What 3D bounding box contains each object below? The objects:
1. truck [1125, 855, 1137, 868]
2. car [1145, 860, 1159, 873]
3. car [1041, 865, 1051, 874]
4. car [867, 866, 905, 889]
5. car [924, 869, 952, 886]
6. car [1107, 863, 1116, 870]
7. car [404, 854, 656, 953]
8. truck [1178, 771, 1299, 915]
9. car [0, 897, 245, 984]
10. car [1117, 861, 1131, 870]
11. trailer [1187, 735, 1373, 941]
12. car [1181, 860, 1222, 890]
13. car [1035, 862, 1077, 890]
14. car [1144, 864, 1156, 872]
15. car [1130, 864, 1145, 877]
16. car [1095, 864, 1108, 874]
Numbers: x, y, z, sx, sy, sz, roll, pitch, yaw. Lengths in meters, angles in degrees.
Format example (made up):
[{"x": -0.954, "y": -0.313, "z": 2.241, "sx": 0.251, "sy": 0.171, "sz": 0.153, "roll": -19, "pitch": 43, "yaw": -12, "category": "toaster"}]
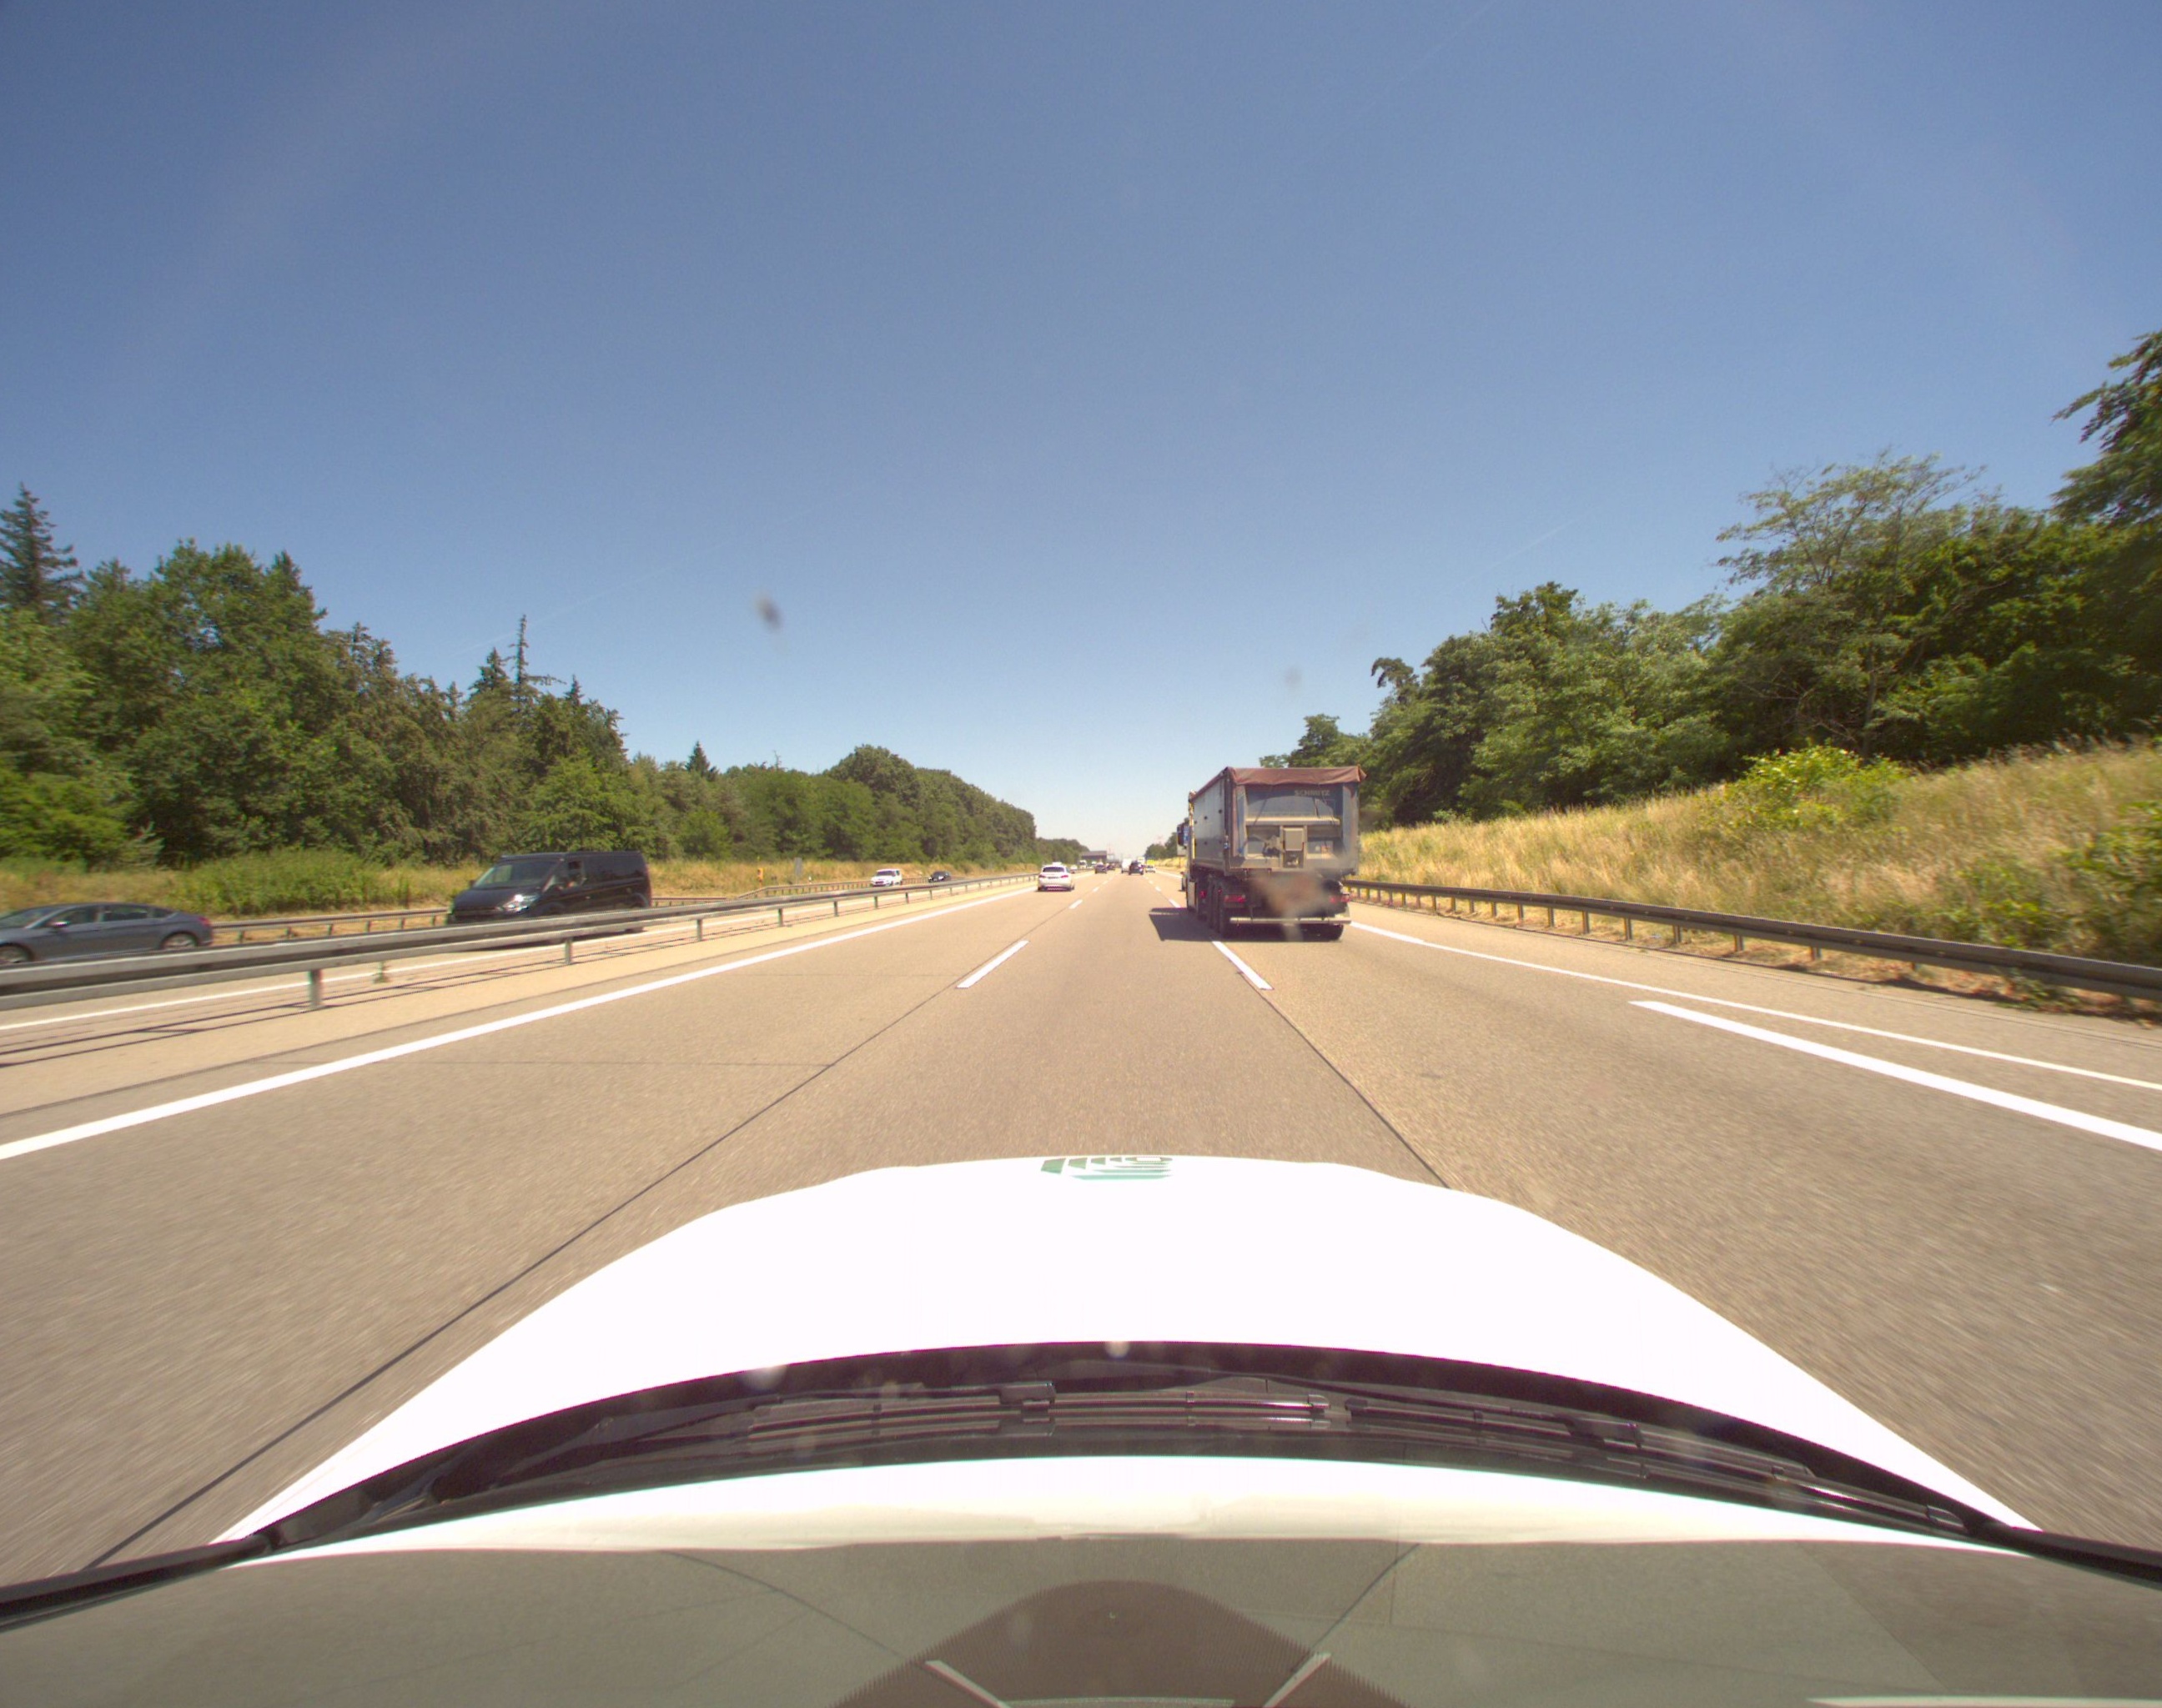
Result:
[{"x": 11.554, "y": 1.775, "z": 188.452, "sx": 2.419, "sy": 2.884, "sz": 6.207, "roll": 0, "pitch": -1, "yaw": 2, "category": "truck"}, {"x": 14.609, "y": 2.513, "z": 168.411, "sx": 2.656, "sy": 2.634, "sz": 6.115, "roll": 0, "pitch": -1, "yaw": 2, "category": "car"}, {"x": -8.860, "y": 3.899, "z": 205.740, "sx": 1.985, "sy": 1.953, "sz": 5.249, "roll": -3, "pitch": -1, "yaw": 4, "category": "car"}, {"x": -17.391, "y": 2.071, "z": 72.742, "sx": 1.985, "sy": 1.828, "sz": 4.646, "roll": -3, "pitch": -1, "yaw": 3, "category": "car"}, {"x": -16.074, "y": 2.603, "z": 91.864, "sx": 1.985, "sy": 1.703, "sz": 4.983, "roll": -3, "pitch": -1, "yaw": 3, "category": "car"}, {"x": 6.760, "y": 2.803, "z": 180.230, "sx": 1.867, "sy": 1.580, "sz": 3.932, "roll": 0, "pitch": 0, "yaw": 3, "category": "car"}, {"x": -12.492, "y": 1.032, "z": 19.011, "sx": 2.270, "sy": 1.940, "sz": 4.947, "roll": -2, "pitch": -1, "yaw": 3, "category": "car"}, {"x": 4.506, "y": -0.275, "z": 24.445, "sx": 2.673, "sy": 3.758, "sz": 5.948, "roll": -1, "pitch": 0, "yaw": 3, "category": "truck"}, {"x": -21.314, "y": 1.782, "z": 17.242, "sx": 1.918, "sy": 1.463, "sz": 4.947, "roll": -2, "pitch": -1, "yaw": 3, "category": "car"}, {"x": 6.817, "y": 1.811, "z": 129.678, "sx": 1.888, "sy": 1.469, "sz": 4.260, "roll": 0, "pitch": 0, "yaw": 0, "category": "car"}, {"x": 4.247, "y": -0.276, "z": 19.537, "sx": 2.725, "sy": 3.758, "sz": 9.117, "roll": -1, "pitch": 0, "yaw": 4, "category": "trailer"}, {"x": 6.315, "y": 1.062, "z": 43.028, "sx": 1.713, "sy": 1.491, "sz": 3.738, "roll": 0, "pitch": 0, "yaw": 1, "category": "car"}, {"x": -1.362, "y": 1.244, "z": 46.570, "sx": 1.955, "sy": 1.504, "sz": 5.409, "roll": 0, "pitch": -1, "yaw": 3, "category": "car"}, {"x": 11.836, "y": 2.402, "z": 139.862, "sx": 1.813, "sy": 1.492, "sz": 3.740, "roll": 0, "pitch": -1, "yaw": 3, "category": "car"}, {"x": 7.532, "y": 2.193, "z": 109.531, "sx": 1.825, "sy": 1.672, "sz": 4.001, "roll": 0, "pitch": -1, "yaw": 2, "category": "car"}, {"x": 3.244, "y": 2.294, "z": 126.159, "sx": 1.824, "sy": 1.431, "sz": 5.004, "roll": 0, "pitch": 0, "yaw": 3, "category": "car"}]
